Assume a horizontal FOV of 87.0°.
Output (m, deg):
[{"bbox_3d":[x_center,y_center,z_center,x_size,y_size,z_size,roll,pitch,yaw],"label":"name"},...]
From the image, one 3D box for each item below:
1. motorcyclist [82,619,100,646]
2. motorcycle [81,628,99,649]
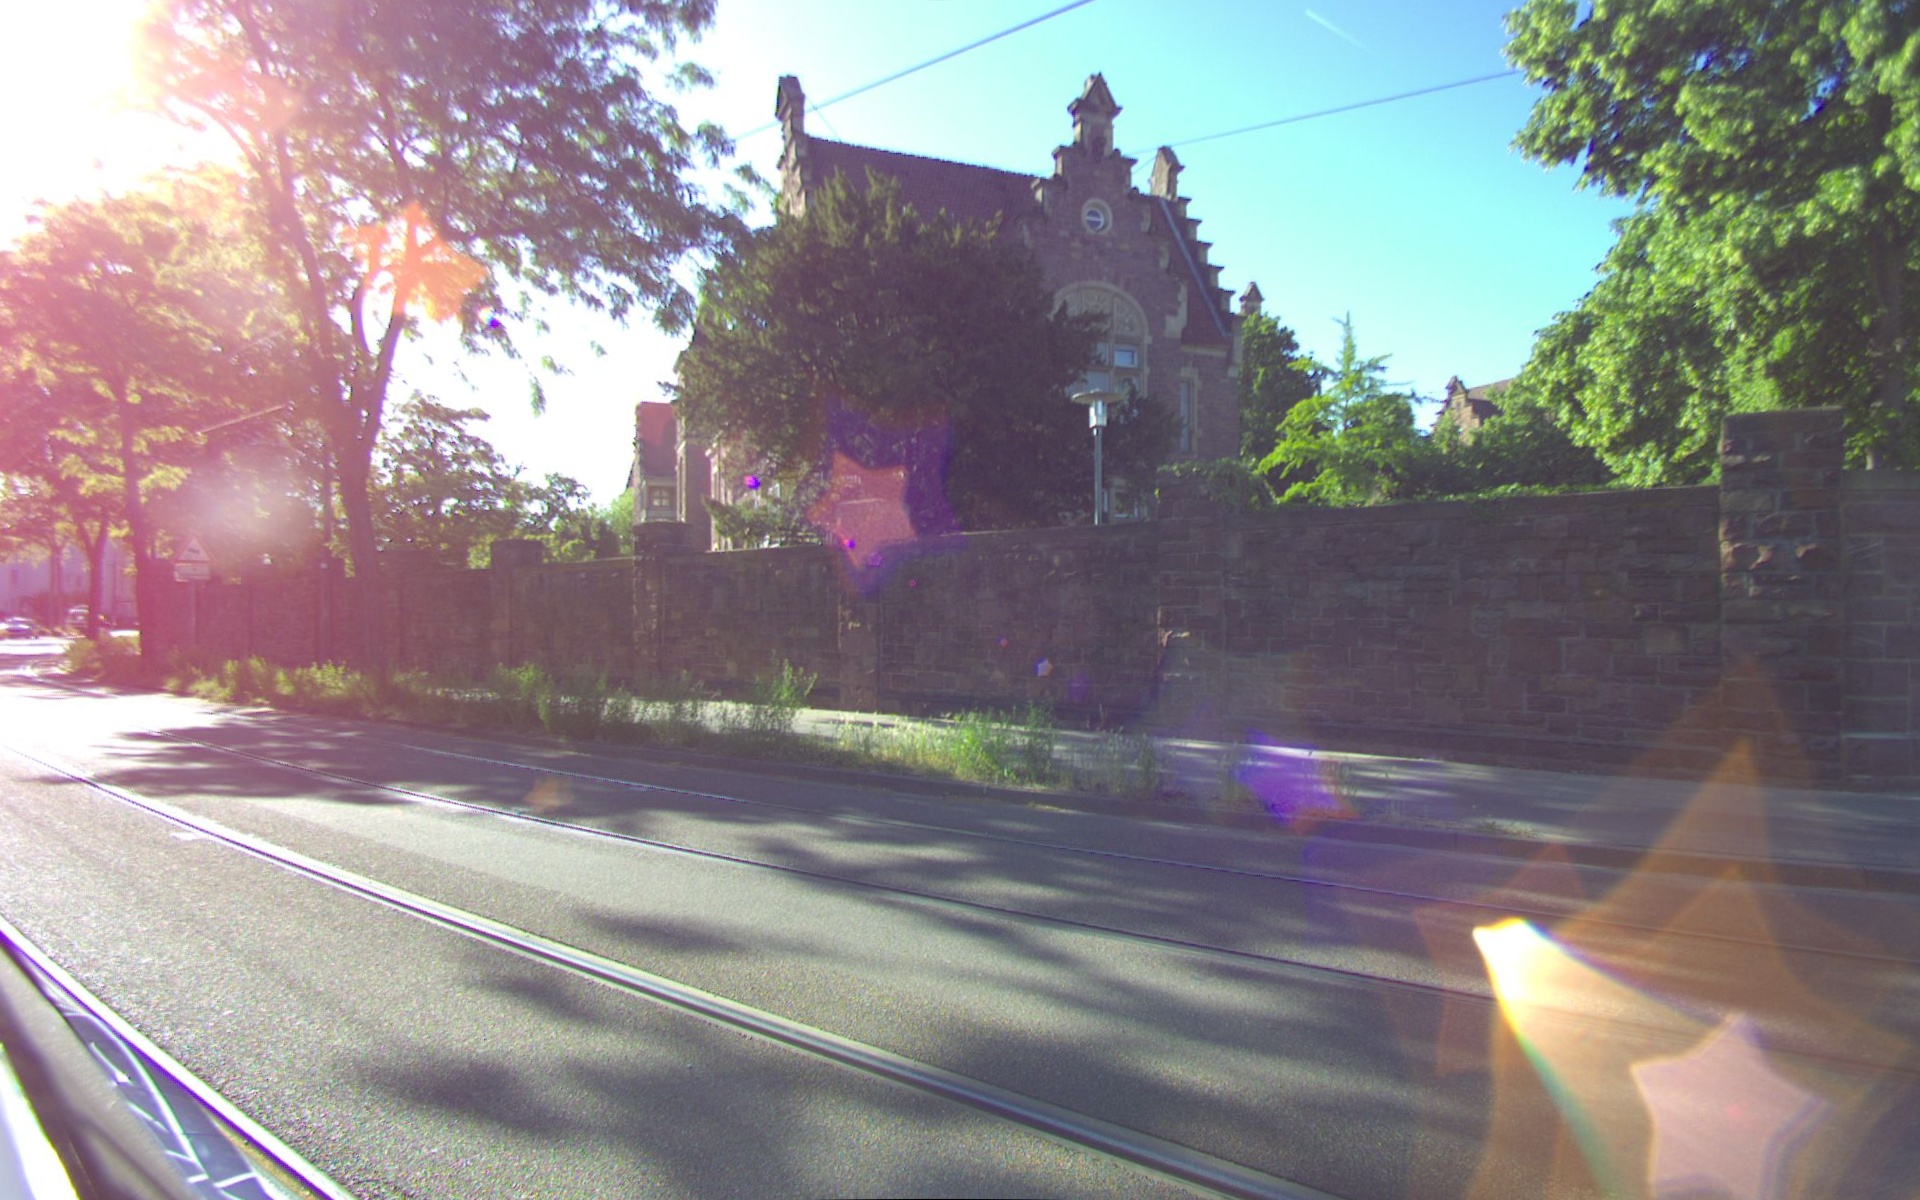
[{"bbox_3d":[-46.875,1.753,54.599,0.674,1.451,0.447,0,-1,-37],"label":"motorcyclist"},{"bbox_3d":[-46.851,2.085,54.524,0.601,1.101,1.860,0,-1,-37],"label":"motorcycle"}]
